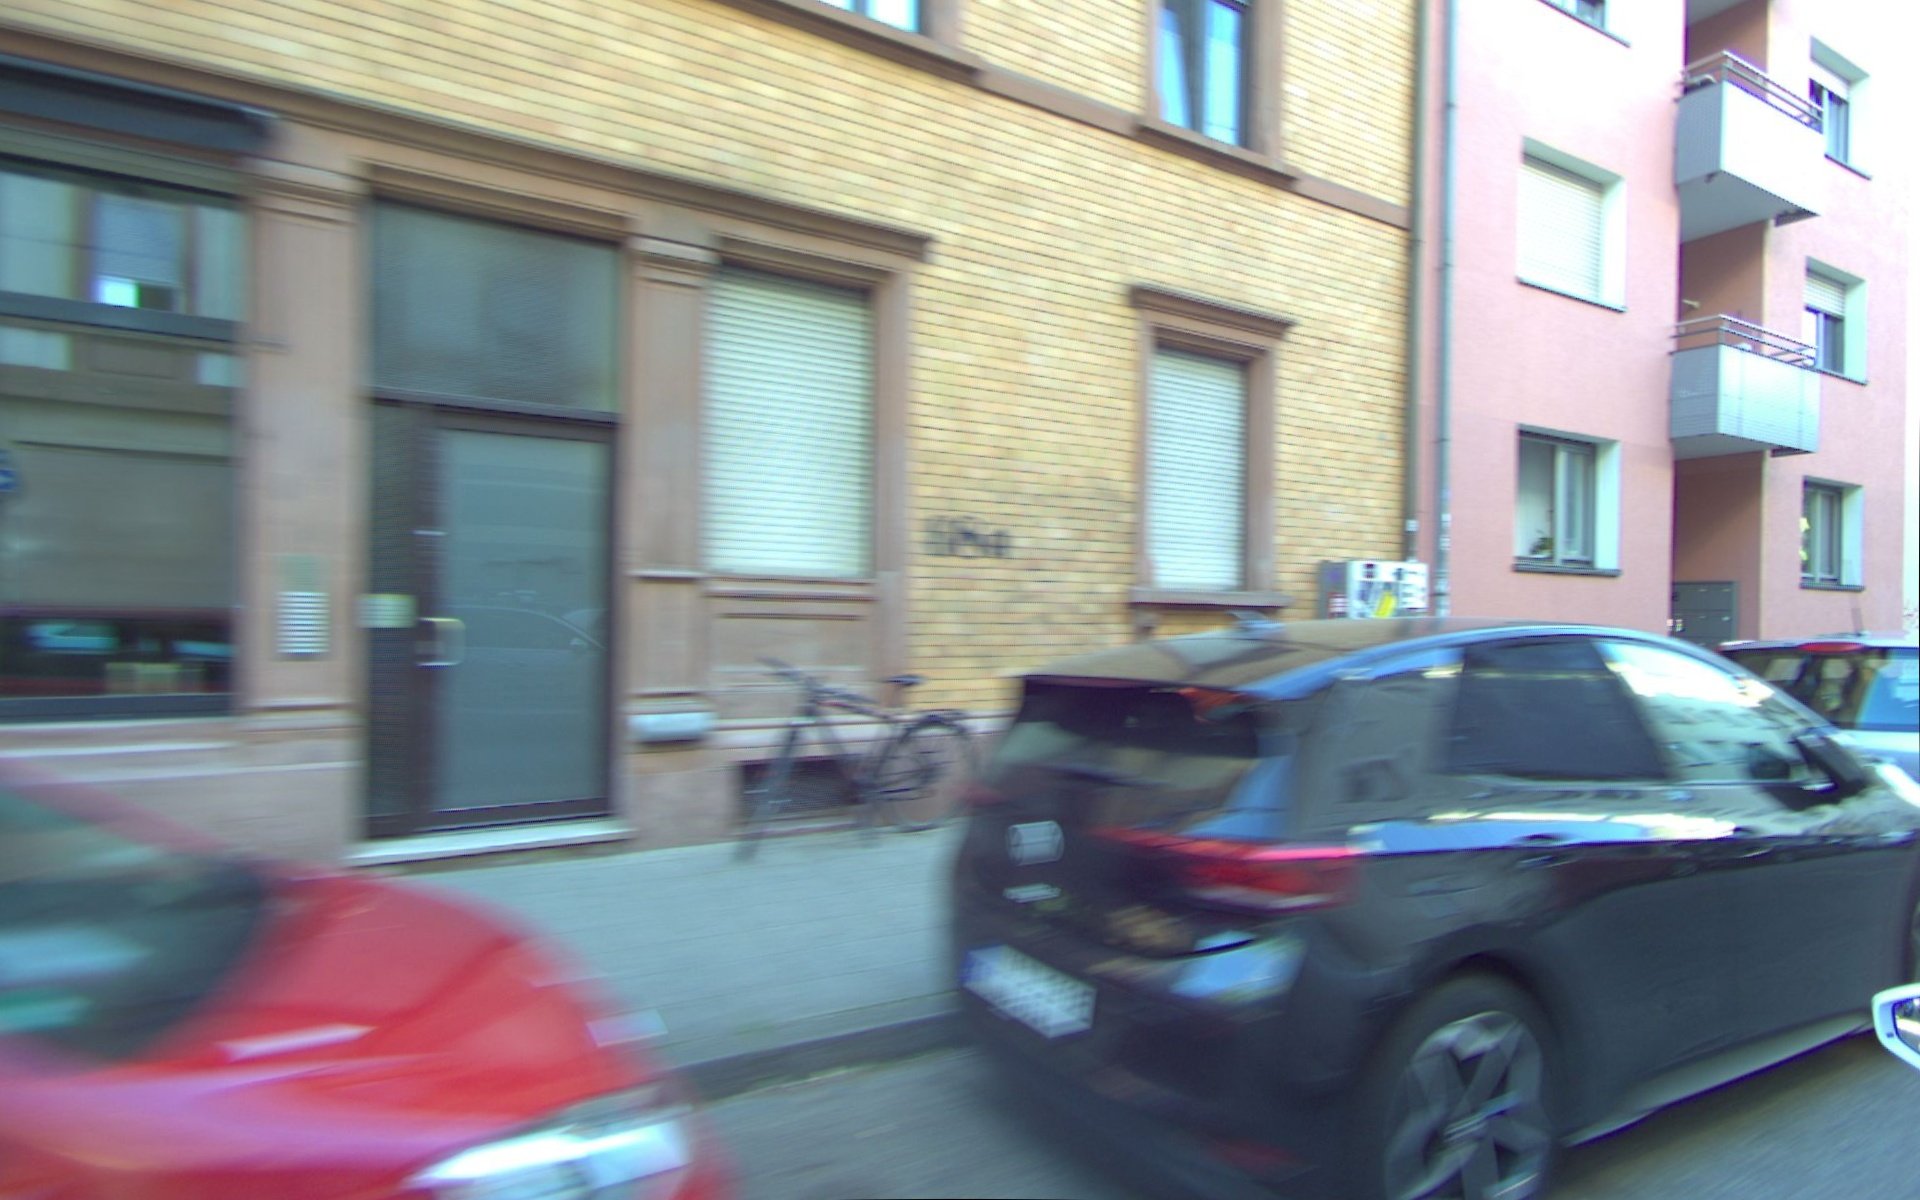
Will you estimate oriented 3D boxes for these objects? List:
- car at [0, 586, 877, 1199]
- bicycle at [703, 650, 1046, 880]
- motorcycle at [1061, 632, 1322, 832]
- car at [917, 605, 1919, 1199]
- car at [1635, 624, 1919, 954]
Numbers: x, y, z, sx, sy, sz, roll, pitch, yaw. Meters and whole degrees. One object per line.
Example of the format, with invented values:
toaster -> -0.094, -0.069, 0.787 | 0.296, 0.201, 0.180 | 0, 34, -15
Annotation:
car -> -2.037, 0.757, 1.094 | 3.559, 1.500, 1.620 | 1, -2, -31
bicycle -> -0.451, 0.861, 5.724 | 1.868, 1.088, 0.531 | 1, 4, -30
motorcycle -> 1.625, 0.840, 6.908 | 1.885, 1.222, 0.531 | 1, -1, -30
car -> 2.021, 0.836, 3.675 | 4.044, 1.541, 1.689 | 1, -2, -28
car -> 6.015, 0.924, 6.000 | 3.895, 1.541, 1.650 | 1, -2, -28
